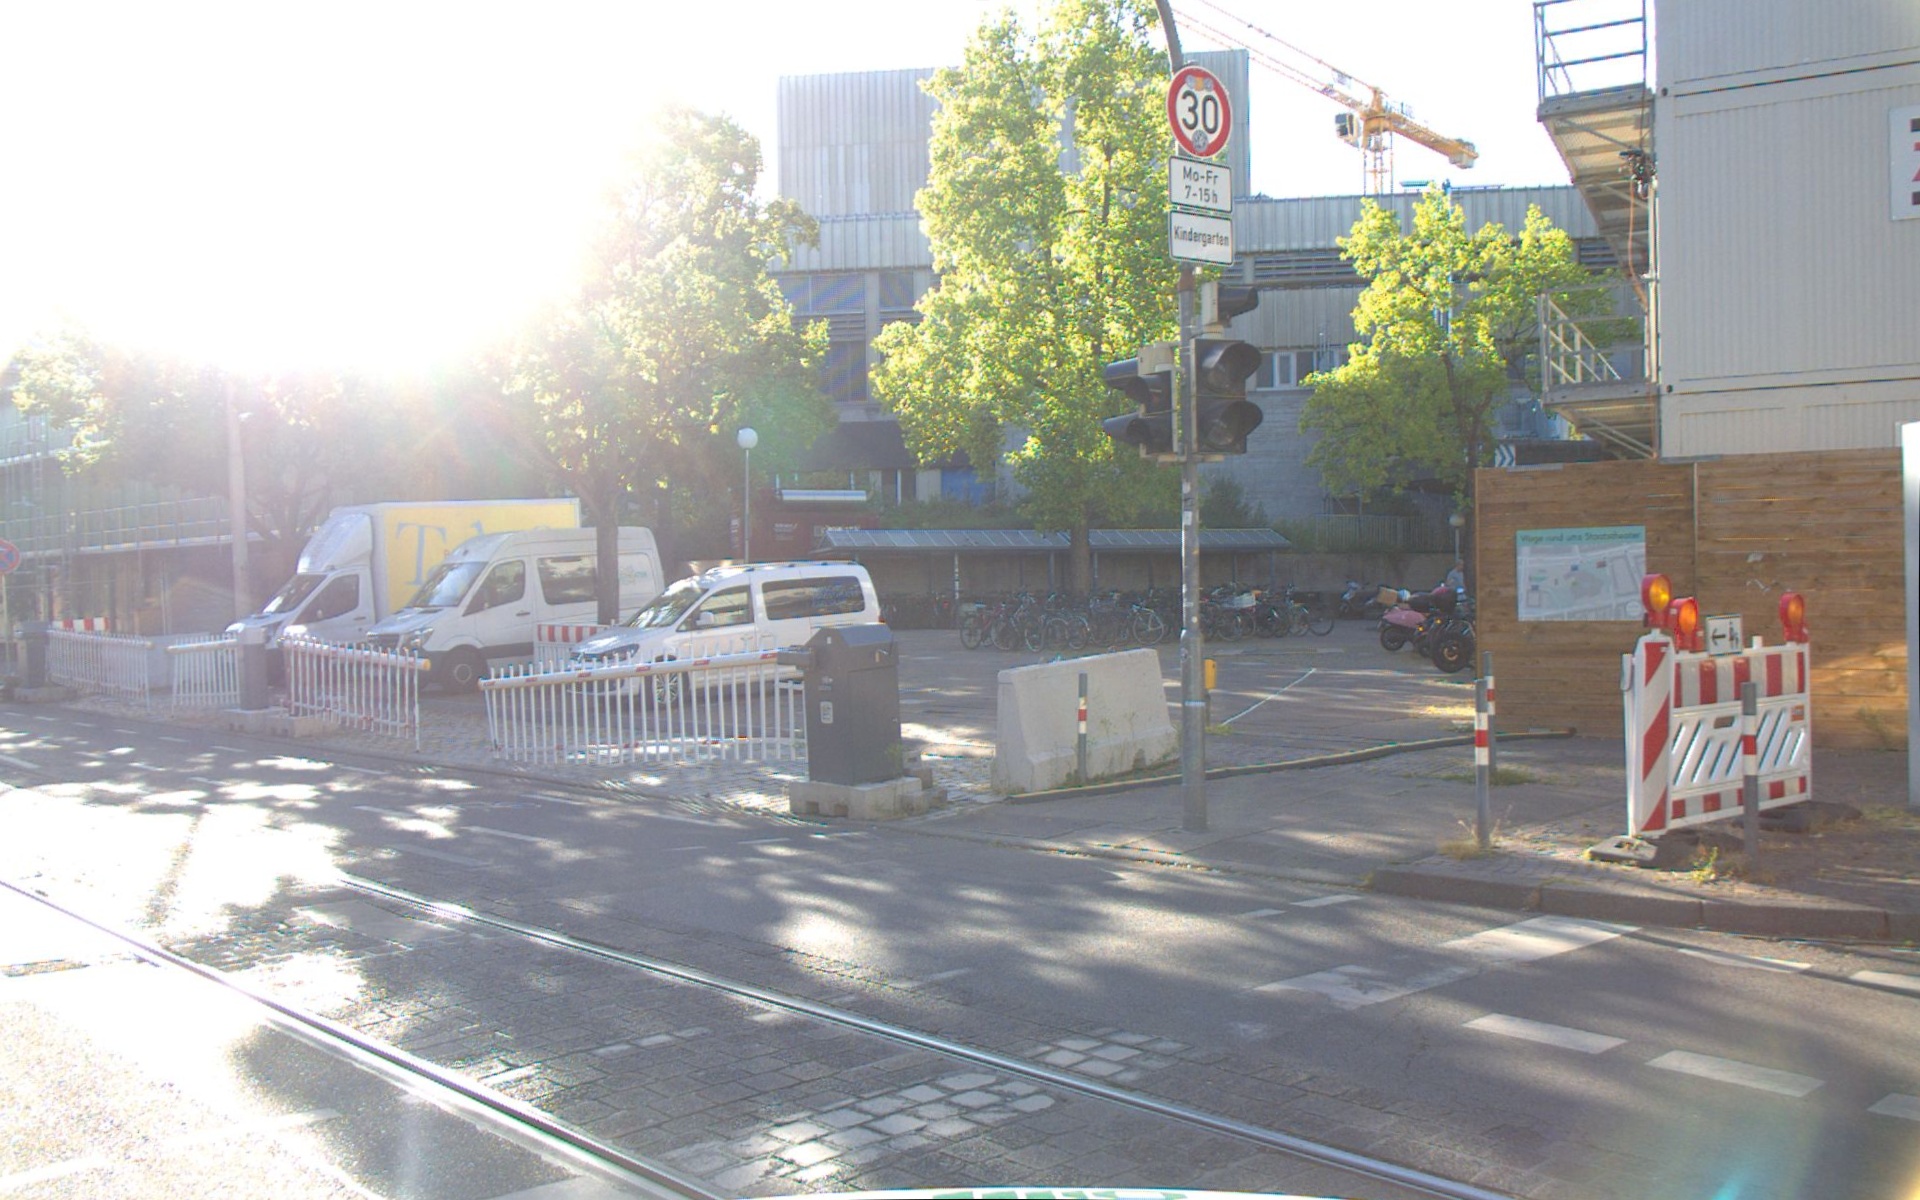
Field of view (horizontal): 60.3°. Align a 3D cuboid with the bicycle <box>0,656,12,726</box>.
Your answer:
[{"bbox_3d":[-15.065,1.377,25.162,0.677,1.036,1.890,-2,0,-44],"label":"bicycle"}]

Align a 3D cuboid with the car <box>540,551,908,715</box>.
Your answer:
[{"bbox_3d":[-3.327,0.394,23.904,4.898,1.925,1.983,-5,2,-38],"label":"car"}]

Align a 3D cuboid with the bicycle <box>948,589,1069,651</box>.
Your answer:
[{"bbox_3d":[0.944,0.394,33.341,0.812,1.167,3.052,-2,1,-34],"label":"bicycle"}]

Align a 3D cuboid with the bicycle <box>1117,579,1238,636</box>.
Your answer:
[{"bbox_3d":[4.723,0.178,36.182,0.812,1.167,3.052,-2,1,-34],"label":"bicycle"}]

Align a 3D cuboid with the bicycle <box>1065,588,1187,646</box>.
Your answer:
[{"bbox_3d":[3.494,0.361,35.245,0.812,1.167,3.052,-2,1,-34],"label":"bicycle"}]

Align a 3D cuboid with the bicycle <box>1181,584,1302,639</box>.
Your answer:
[{"bbox_3d":[6.303,0.258,37.261,0.812,1.167,3.052,-2,1,-34],"label":"bicycle"}]

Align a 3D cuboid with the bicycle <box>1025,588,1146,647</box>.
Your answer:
[{"bbox_3d":[2.591,0.372,34.682,0.812,1.167,3.052,-2,1,-34],"label":"bicycle"}]

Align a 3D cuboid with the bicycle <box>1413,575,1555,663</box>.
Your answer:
[{"bbox_3d":[8.043,0.286,25.439,1.999,1.279,0.472,-2,1,9],"label":"bicycle"}]

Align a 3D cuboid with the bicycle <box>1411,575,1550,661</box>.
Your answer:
[{"bbox_3d":[8.146,0.280,25.919,1.999,1.279,0.472,-2,1,9],"label":"bicycle"}]

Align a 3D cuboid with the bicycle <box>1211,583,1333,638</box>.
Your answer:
[{"bbox_3d":[7.095,0.248,37.814,0.812,1.167,3.052,-2,1,-34],"label":"bicycle"}]

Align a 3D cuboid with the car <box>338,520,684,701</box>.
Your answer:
[{"bbox_3d":[-7.532,0.081,28.245,1.966,2.574,5.347,-1,3,44],"label":"car"}]

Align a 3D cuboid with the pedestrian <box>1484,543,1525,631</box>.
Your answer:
[{"bbox_3d":[12.989,-0.317,39.458,0.784,2.049,1.030,-2,0,23],"label":"pedestrian"}]

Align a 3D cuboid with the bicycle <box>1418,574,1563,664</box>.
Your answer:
[{"bbox_3d":[7.978,0.290,24.949,1.999,1.279,0.472,-2,1,9],"label":"bicycle"}]

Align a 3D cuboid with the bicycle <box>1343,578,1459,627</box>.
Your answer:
[{"bbox_3d":[11.103,0.084,41.762,0.812,1.167,3.052,-2,1,-34],"label":"bicycle"}]

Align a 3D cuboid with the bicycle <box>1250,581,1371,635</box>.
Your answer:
[{"bbox_3d":[8.105,0.193,38.438,0.812,1.167,3.052,-2,1,-34],"label":"bicycle"}]

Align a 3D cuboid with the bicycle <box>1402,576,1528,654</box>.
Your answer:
[{"bbox_3d":[8.757,0.254,28.710,1.999,1.279,0.544,-2,1,9],"label":"bicycle"}]

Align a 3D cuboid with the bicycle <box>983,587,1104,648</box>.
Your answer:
[{"bbox_3d":[1.673,0.360,34.008,0.812,1.167,3.052,-2,1,-34],"label":"bicycle"}]

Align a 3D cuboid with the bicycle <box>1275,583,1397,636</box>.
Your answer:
[{"bbox_3d":[8.832,0.226,39.016,0.812,1.167,3.052,-2,1,-34],"label":"bicycle"}]

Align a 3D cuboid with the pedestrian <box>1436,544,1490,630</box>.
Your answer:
[{"bbox_3d":[12.206,-0.320,40.115,0.927,2.049,0.794,-2,0,-33],"label":"pedestrian"}]

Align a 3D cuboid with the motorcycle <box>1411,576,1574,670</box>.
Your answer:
[{"bbox_3d":[7.669,0.332,23.893,2.157,1.279,0.544,-2,1,9],"label":"motorcycle"}]

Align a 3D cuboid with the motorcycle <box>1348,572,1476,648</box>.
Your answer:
[{"bbox_3d":[8.179,0.180,29.973,2.157,1.279,0.544,-2,1,9],"label":"motorcycle"}]

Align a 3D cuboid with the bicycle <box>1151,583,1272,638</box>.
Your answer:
[{"bbox_3d":[5.555,0.239,36.786,0.812,1.167,3.052,-2,1,-34],"label":"bicycle"}]

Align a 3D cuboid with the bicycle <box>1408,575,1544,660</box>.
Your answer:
[{"bbox_3d":[8.231,0.276,26.425,1.999,1.279,0.472,-2,1,9],"label":"bicycle"}]

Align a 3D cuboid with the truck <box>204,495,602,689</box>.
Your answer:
[{"bbox_3d":[-10.862,-0.284,32.833,7.065,3.405,2.352,-4,2,-43],"label":"truck"}]

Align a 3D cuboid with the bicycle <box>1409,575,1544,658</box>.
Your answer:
[{"bbox_3d":[8.399,0.270,26.953,1.999,1.279,0.544,-2,1,9],"label":"bicycle"}]

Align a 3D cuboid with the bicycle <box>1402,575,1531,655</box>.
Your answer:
[{"bbox_3d":[8.598,0.259,28.134,1.999,1.279,0.544,-2,1,9],"label":"bicycle"}]
